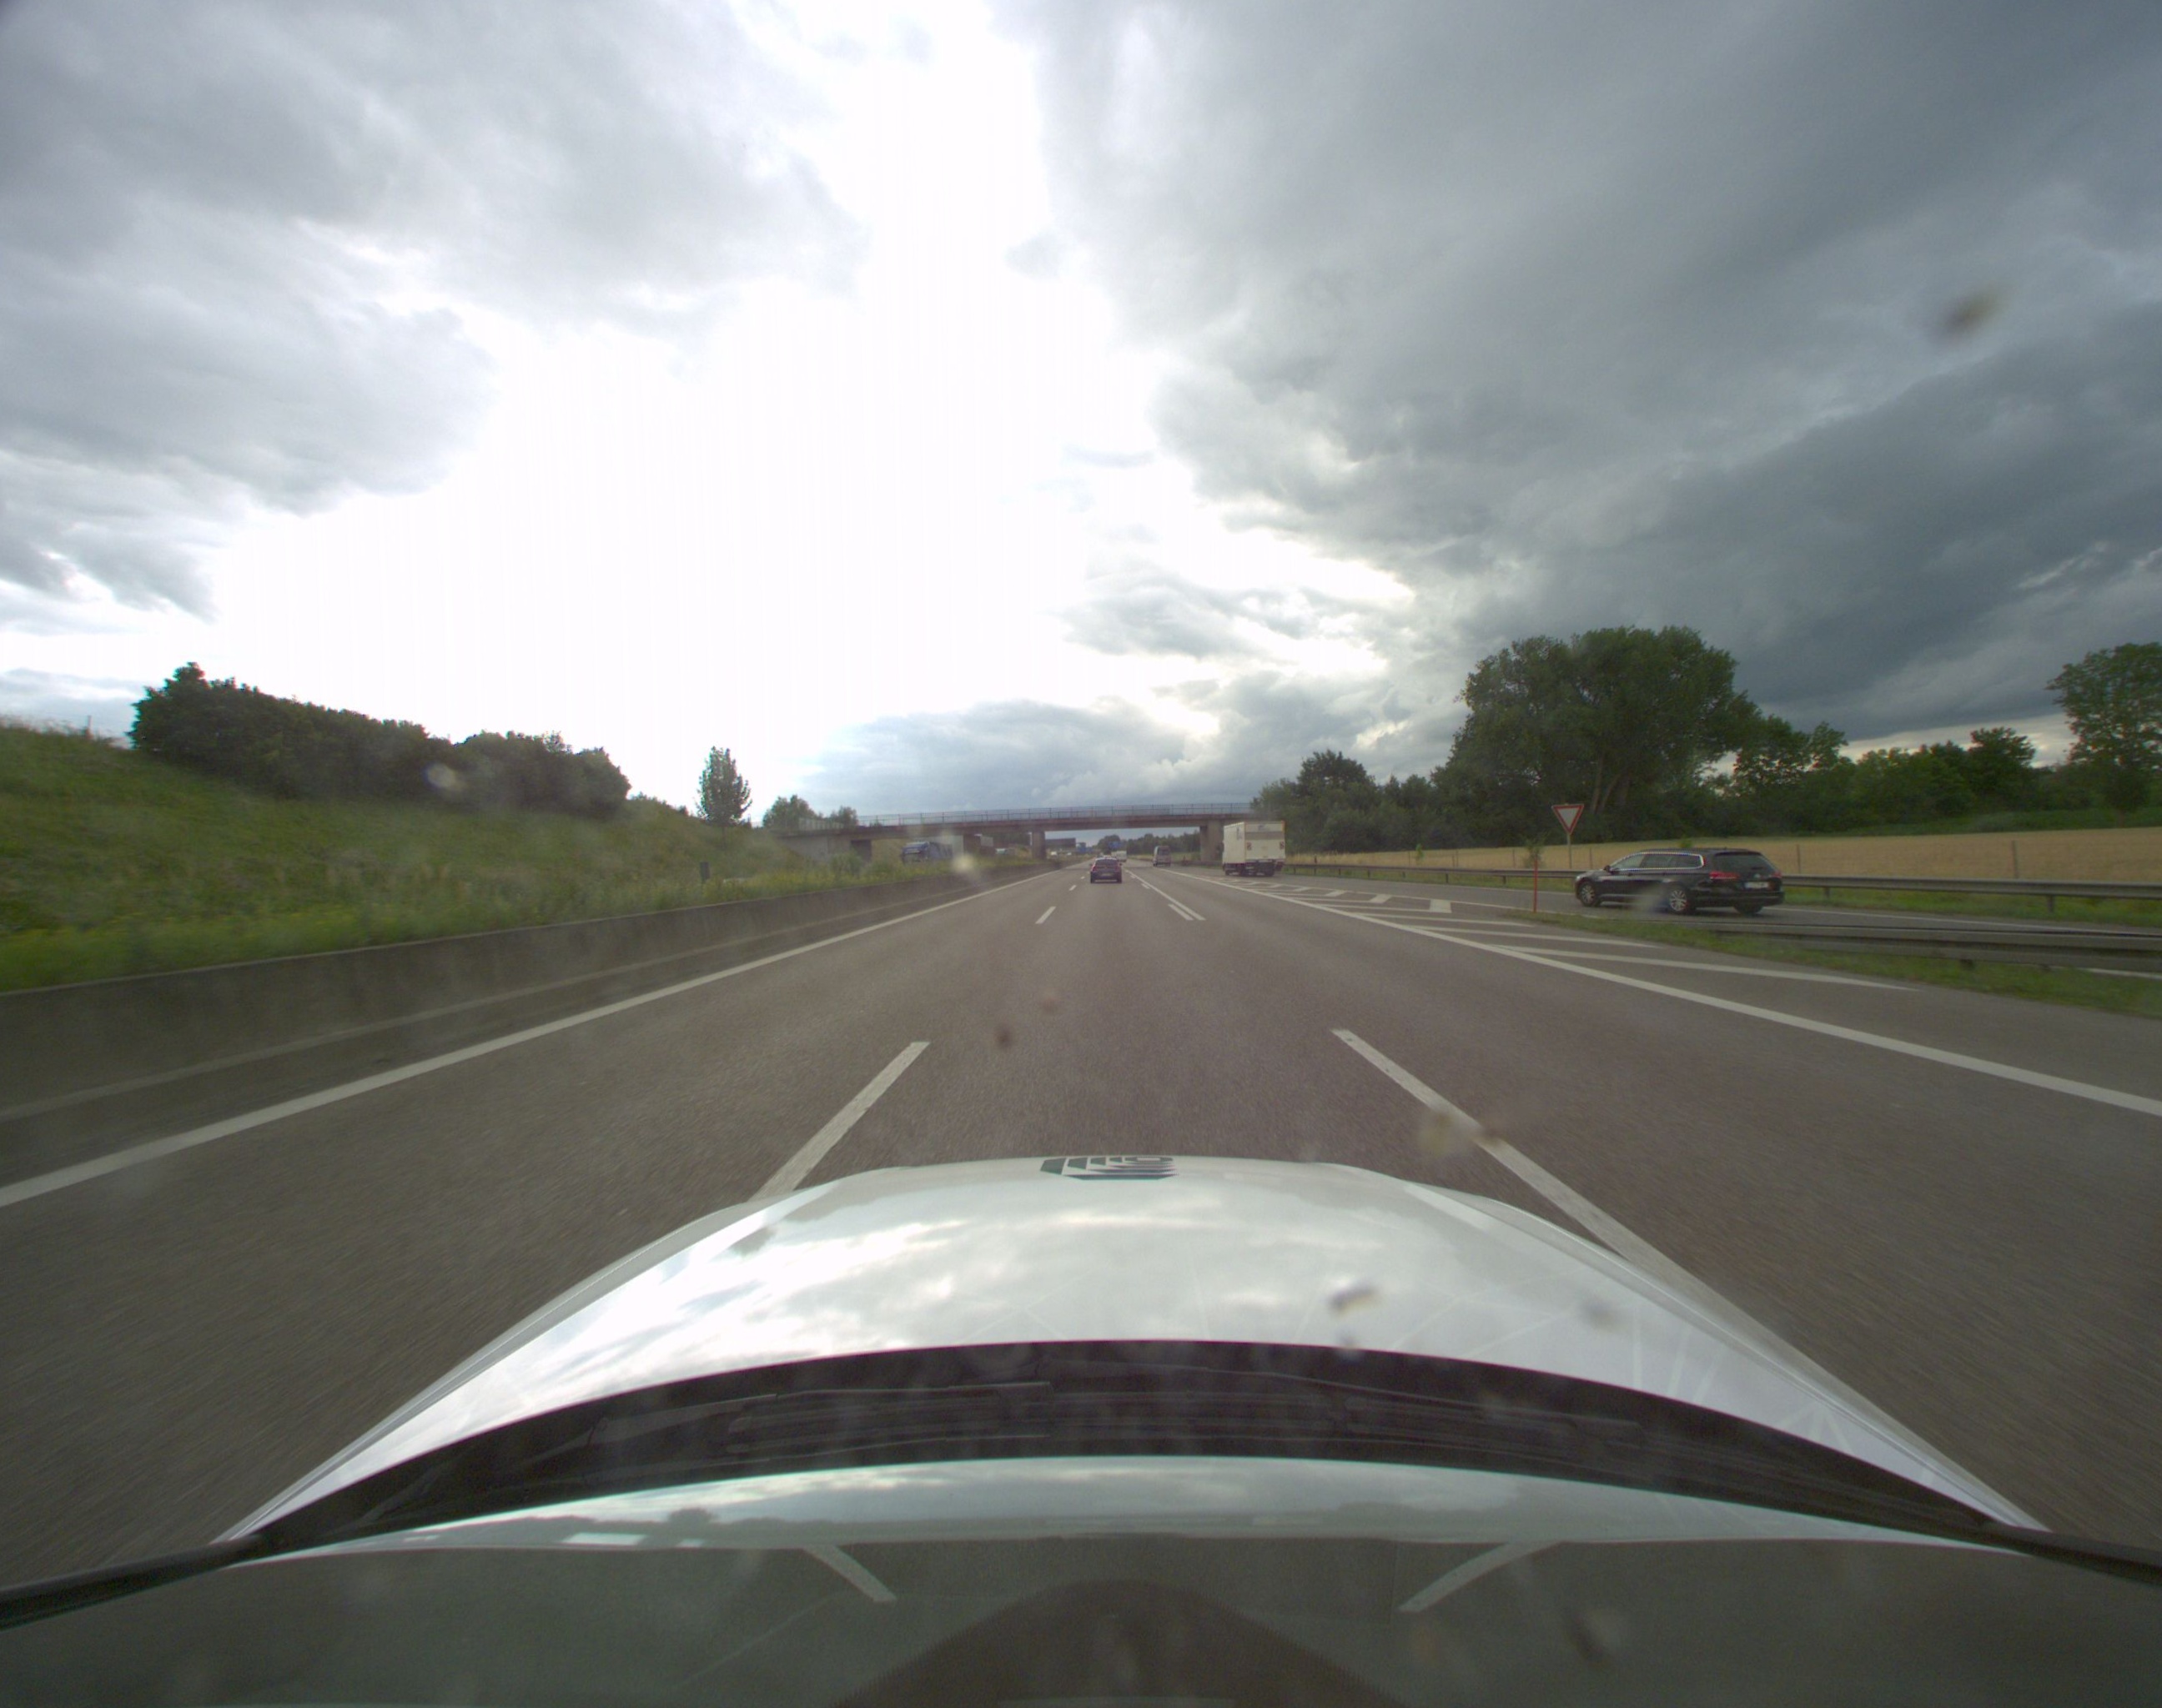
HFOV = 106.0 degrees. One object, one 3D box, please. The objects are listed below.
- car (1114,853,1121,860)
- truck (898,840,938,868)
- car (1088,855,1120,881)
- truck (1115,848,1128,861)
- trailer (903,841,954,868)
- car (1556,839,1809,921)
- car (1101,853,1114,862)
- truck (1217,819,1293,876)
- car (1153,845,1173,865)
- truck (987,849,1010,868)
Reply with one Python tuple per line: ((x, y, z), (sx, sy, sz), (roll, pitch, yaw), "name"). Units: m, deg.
((11.565, 0.751, 259.906), (1.986, 2.013, 4.001), (-3, 0, 1), "car")
((-17.806, 0.046, 89.234), (2.899, 2.946, 6.118), (0, 0, 2), "truck")
((1.297, 0.755, 46.575), (1.737, 1.389, 4.001), (-1, 0, 2), "car")
((9.588, 0.043, 191.758), (2.700, 2.964, 12.450), (0, 0, 1), "truck")
((-17.619, 0.068, 95.169), (2.910, 2.955, 13.977), (0, 0, 2), "trailer")
((13.598, 0.538, 18.898), (1.914, 1.550, 4.915), (-3, 0, -5), "car")
((4.239, 0.622, 131.442), (1.986, 1.298, 4.001), (-3, 0, 1), "car")
((11.443, -0.384, 54.591), (3.095, 3.471, 8.886), (0, 0, -1), "truck")
((10.979, 0.195, 109.980), (2.213, 2.568, 6.258), (-1, 0, 2), "car")
((-16.907, 0.904, 168.276), (2.986, 3.684, 13.014), (-1, -1, 2), "truck")
